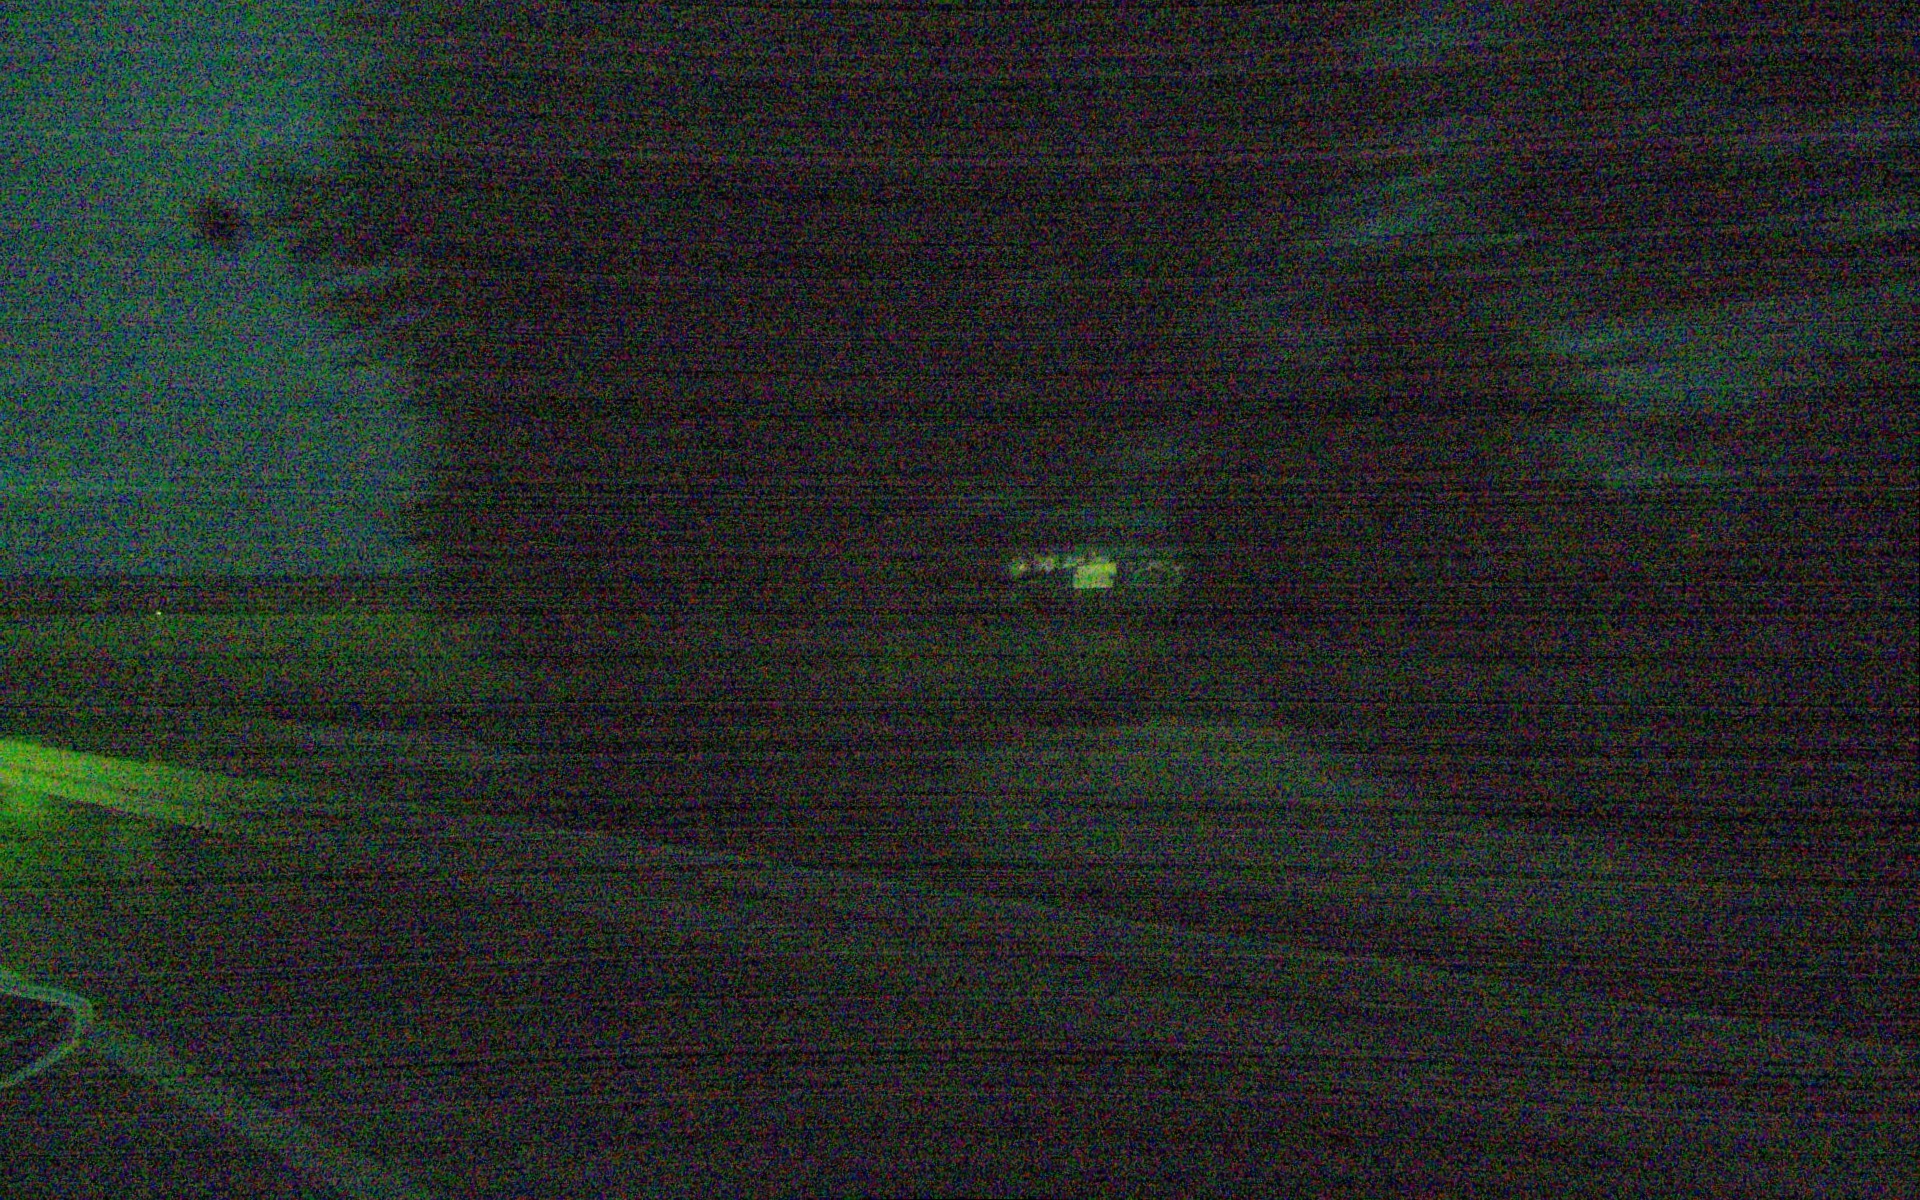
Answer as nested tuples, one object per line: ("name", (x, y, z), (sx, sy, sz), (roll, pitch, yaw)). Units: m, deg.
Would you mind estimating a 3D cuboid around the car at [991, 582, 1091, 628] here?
("car", (3.961, 0.255, 48.972), (4.500, 2.180, 1.996), (-1, 0, 21))
